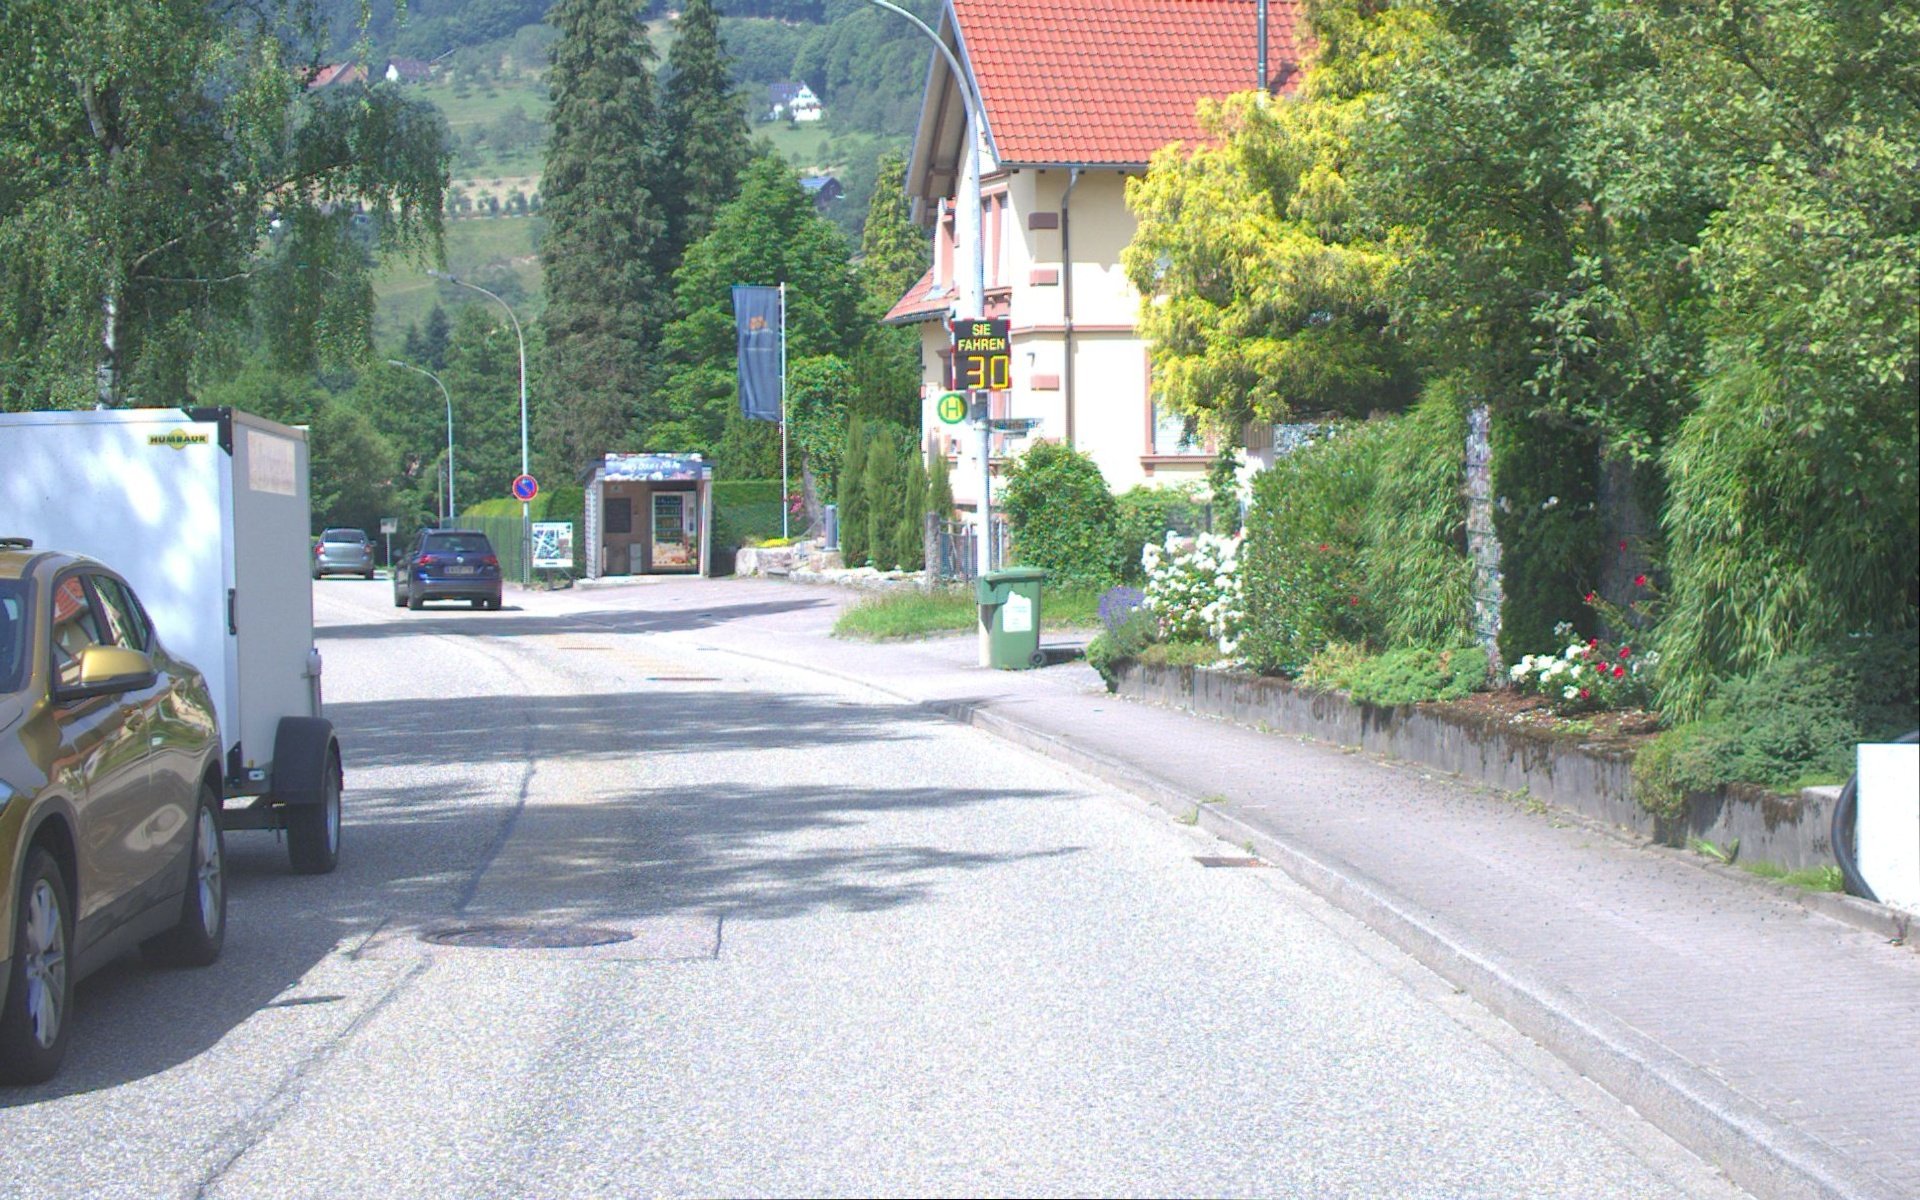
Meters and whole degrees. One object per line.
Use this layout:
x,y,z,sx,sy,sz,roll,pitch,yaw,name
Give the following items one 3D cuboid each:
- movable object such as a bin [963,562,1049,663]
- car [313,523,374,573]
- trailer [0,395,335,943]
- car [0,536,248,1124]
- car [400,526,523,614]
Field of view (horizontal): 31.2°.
0.486,0.131,36.484,0.809,1.039,0.579,-1,2,-9,movable object such as a bin
-17.972,-1.517,100.317,1.628,1.417,3.399,0,1,-8,car
-3.719,0.235,14.912,1.466,2.070,3.671,-1,1,-3,trailer
-3.469,0.574,10.668,1.813,1.495,4.150,-1,1,-3,car
-10.098,-0.617,69.452,1.919,1.692,3.789,-1,1,-16,car
